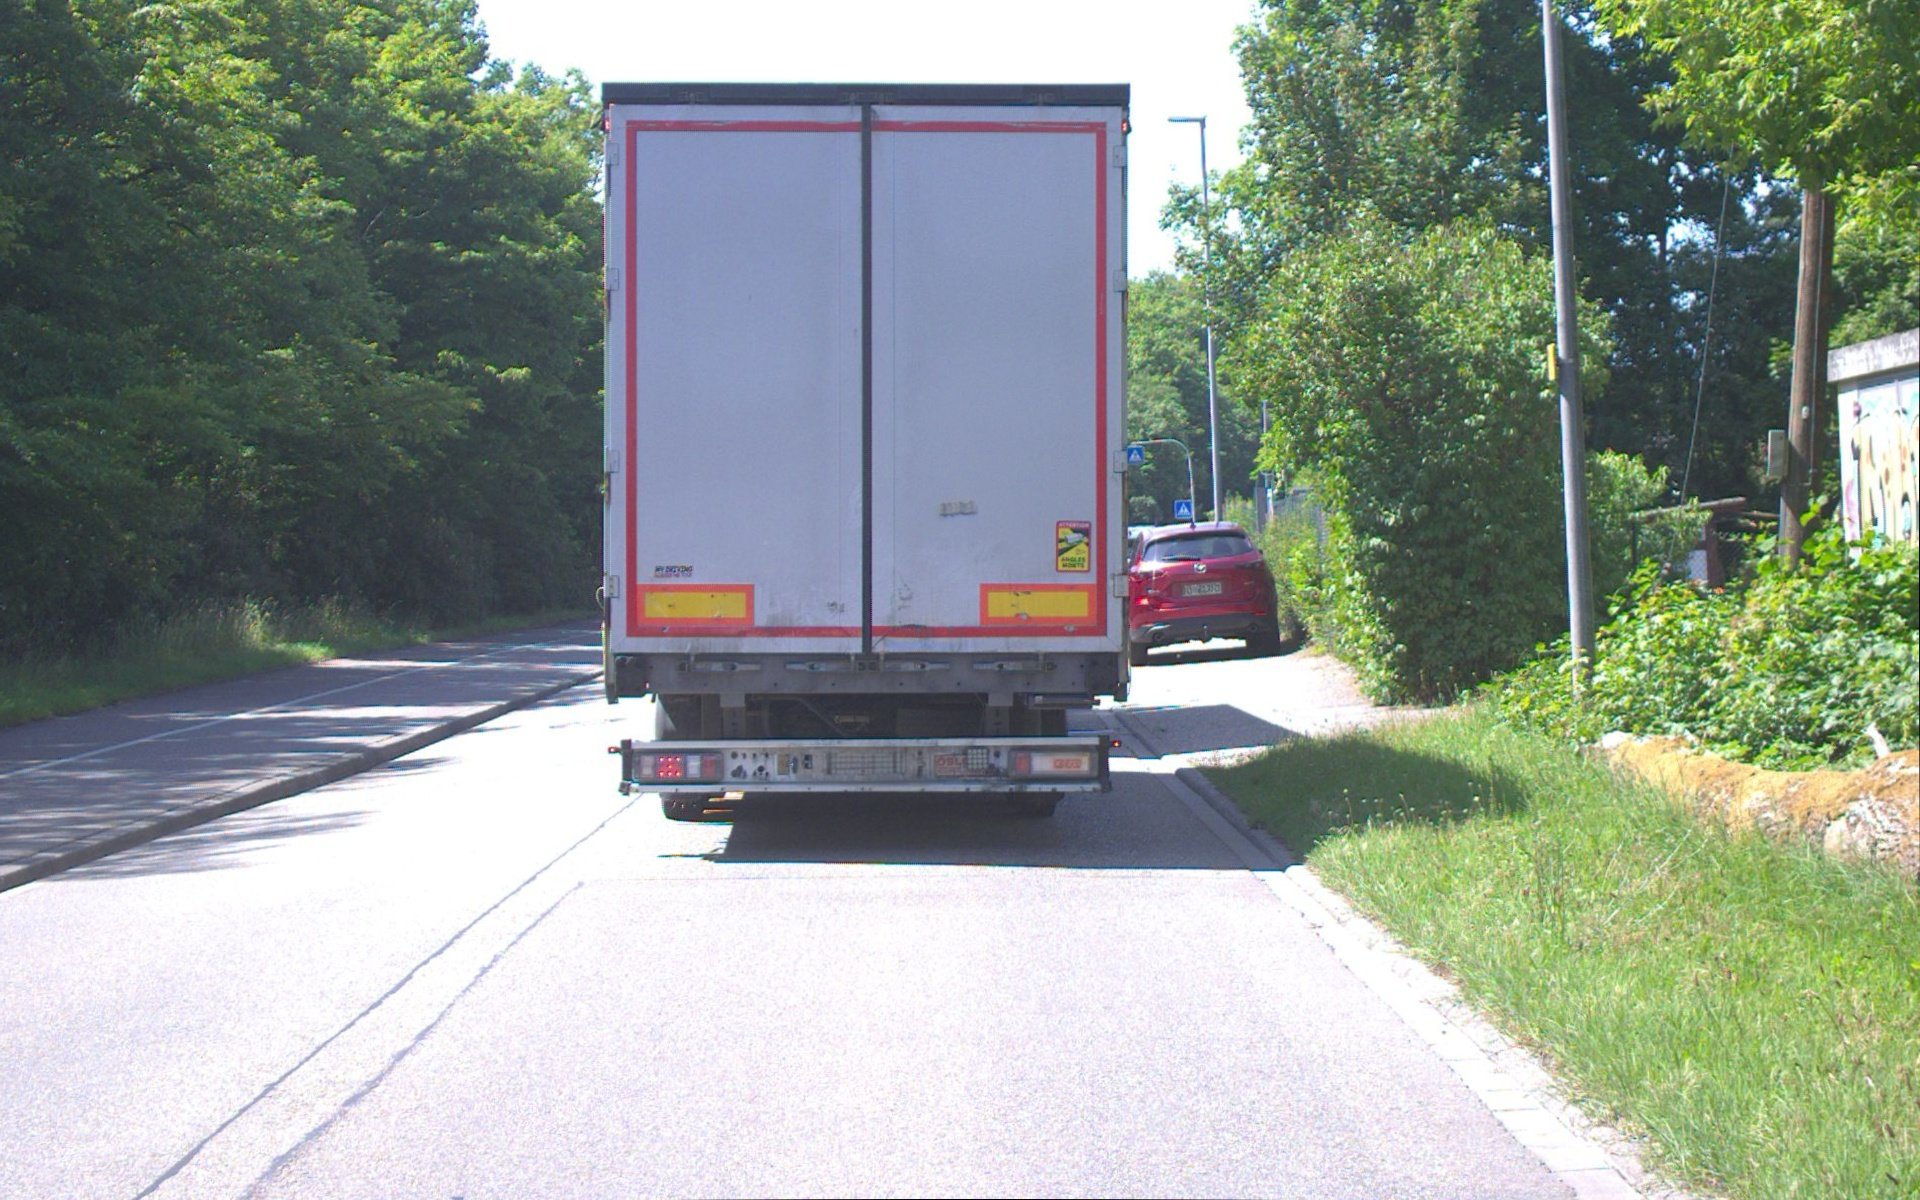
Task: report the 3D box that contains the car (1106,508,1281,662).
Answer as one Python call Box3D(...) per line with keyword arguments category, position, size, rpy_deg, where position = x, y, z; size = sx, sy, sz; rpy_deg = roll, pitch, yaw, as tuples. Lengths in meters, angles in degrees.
Box3D(category="car", position=(2.852, -0.226, 42.889), size=(1.789, 1.652, 4.452), rpy_deg=(-6, 1, 1))

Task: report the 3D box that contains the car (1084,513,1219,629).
Box3D(category="car", position=(2.902, -0.478, 52.918), size=(1.789, 1.598, 4.130), rpy_deg=(-3, 2, 0))

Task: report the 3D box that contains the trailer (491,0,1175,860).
Box3D(category="trailer", position=(-0.706, -0.972, 22.093), size=(3.112, 4.088, 11.537), rpy_deg=(-2, 1, -1))

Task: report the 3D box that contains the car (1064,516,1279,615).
Box3D(category="car", position=(4.600, -0.765, 75.199), size=(4.470, 1.698, 1.914), rpy_deg=(-6, 1, 1))

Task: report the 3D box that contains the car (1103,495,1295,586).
Box3D(category="car", position=(5.557, -1.376, 79.817), size=(4.258, 1.692, 1.853), rpy_deg=(-5, 1, 4))

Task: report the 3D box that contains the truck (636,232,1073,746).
Box3D(category="truck", position=(-0.860, -0.884, 28.677), size=(3.113, 3.712, 6.414), rpy_deg=(-2, 1, -1))
